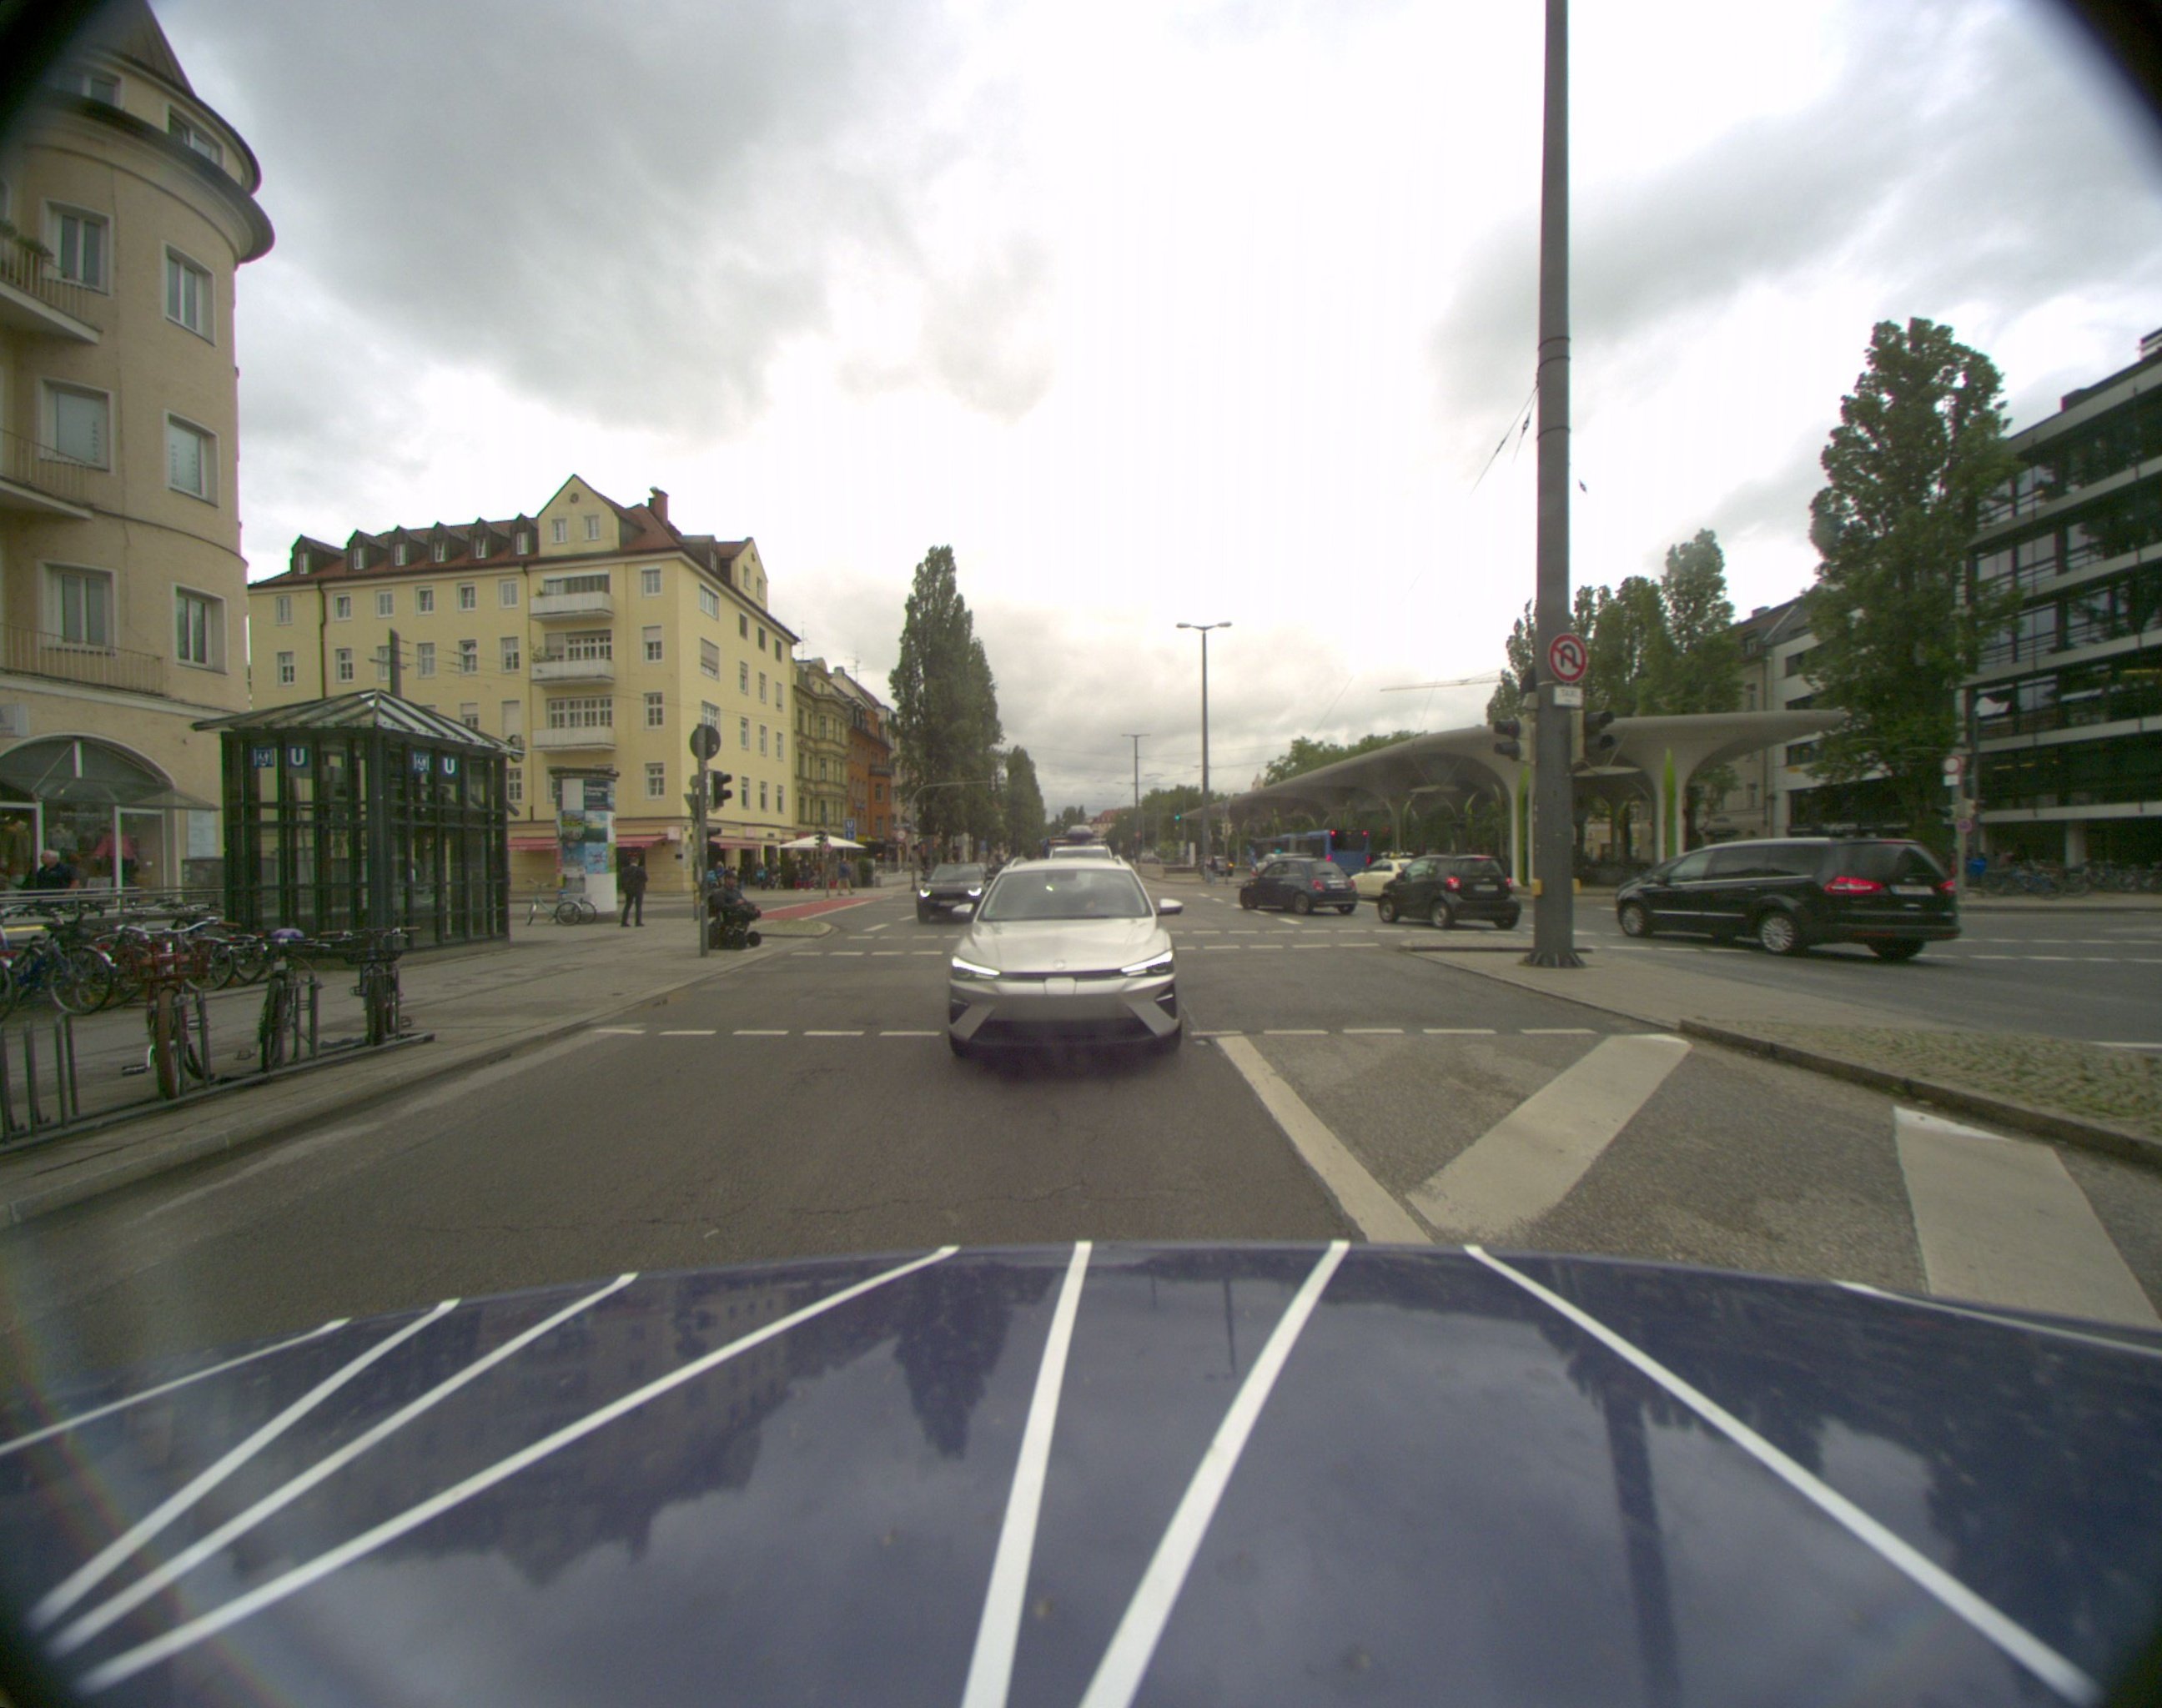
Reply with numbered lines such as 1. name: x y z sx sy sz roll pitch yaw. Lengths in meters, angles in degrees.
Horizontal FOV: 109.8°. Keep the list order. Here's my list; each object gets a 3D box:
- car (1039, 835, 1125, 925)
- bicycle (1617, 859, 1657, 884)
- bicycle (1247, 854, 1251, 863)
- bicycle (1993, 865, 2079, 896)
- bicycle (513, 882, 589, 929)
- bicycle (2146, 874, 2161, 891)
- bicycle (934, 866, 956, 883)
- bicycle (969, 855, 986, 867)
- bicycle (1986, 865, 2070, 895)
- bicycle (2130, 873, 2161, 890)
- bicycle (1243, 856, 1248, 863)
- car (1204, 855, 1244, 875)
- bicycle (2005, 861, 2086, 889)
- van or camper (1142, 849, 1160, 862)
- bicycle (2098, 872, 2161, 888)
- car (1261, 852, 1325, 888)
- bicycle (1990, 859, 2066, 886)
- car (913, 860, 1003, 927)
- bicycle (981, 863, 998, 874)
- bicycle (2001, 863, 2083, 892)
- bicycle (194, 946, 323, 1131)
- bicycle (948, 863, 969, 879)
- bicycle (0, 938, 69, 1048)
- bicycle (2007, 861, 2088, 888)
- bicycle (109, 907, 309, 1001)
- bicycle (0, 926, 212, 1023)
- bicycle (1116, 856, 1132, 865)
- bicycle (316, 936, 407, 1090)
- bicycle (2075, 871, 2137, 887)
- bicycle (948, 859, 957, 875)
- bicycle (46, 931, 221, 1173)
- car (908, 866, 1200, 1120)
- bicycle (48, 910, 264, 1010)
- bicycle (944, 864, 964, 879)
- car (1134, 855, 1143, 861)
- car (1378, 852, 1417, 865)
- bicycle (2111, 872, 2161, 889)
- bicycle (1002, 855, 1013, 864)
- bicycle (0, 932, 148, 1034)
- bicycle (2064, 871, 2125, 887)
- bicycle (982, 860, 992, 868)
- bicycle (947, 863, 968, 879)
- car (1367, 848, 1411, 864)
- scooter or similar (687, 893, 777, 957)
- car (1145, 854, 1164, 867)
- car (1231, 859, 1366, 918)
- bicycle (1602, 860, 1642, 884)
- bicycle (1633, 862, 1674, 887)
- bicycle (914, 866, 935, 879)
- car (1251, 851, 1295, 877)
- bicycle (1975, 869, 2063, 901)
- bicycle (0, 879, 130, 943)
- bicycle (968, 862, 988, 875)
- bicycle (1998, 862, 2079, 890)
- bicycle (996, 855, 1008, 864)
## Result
1. car: -0.018 0.612 19.807 1.999 2.100 3.999 -1 0 -1
2. bicycle: 26.422 0.809 36.142 0.642 1.118 2.167 -1 0 9
3. bicycle: 23.250 0.617 104.975 0.479 1.090 1.851 -1 0 10
4. bicycle: 31.970 0.874 25.465 0.455 0.934 1.728 -1 1 -19
5. bicycle: -13.350 1.293 19.162 1.572 1.153 0.525 0 -1 3
6. bicycle: 41.100 1.052 28.407 1.631 0.629 0.363 -1 0 14
7. bicycle: -8.363 1.224 46.646 1.836 0.990 0.349 0 1 44
8. bicycle: -8.954 0.601 65.599 1.837 0.990 0.326 -3 -1 42
9. bicycle: 32.282 0.857 25.937 0.455 0.934 1.727 -1 1 -21
10. bicycle: 41.234 1.044 28.938 1.631 0.629 0.363 -1 0 14
11. bicycle: 22.708 0.716 105.083 0.479 0.889 1.850 -1 0 8
12. car: 10.473 0.792 55.881 1.999 1.403 4.166 -1 0 -2
13. bicycle: 34.400 0.745 27.122 1.726 0.934 0.456 1 2 42
14. van or camper: 10.439 0.241 114.005 1.933 1.815 5.439 -1 0 -2
15. bicycle: 41.441 1.031 30.027 1.631 0.629 0.363 -1 0 14
16. car: 10.414 0.754 37.709 1.748 1.660 4.731 0 0 -1
17. bicycle: 35.485 0.686 28.500 1.726 0.934 0.456 1 2 43
18. car: -3.195 0.970 20.530 1.780 1.495 3.969 -1 1 -1
19. bicycle: -8.726 1.355 72.400 1.837 0.990 0.376 -3 -1 42
20. bicycle: 33.359 0.800 26.410 0.456 0.934 1.726 -2 2 -41
21. bicycle: -6.074 1.287 5.673 0.500 1.022 1.597 -1 0 -42
22. bicycle: -8.323 1.145 51.715 1.836 0.990 0.349 0 1 43
23. bicycle: -10.864 1.314 7.182 1.843 0.958 0.509 -1 0 -2
24. bicycle: 34.853 0.721 27.428 1.726 0.934 0.456 1 2 42
25. bicycle: -10.853 1.229 9.491 1.843 1.088 0.509 -1 0 -2
26. bicycle: -10.782 1.307 8.335 1.843 0.958 0.509 -1 0 -2
27. bicycle: 5.757 0.805 100.575 2.235 1.143 0.505 -1 0 -33
28. bicycle: -6.152 1.291 6.529 0.500 1.022 1.597 -1 0 -42
29. bicycle: 41.576 1.022 30.823 1.631 0.629 0.363 -1 0 14
30. bicycle: -10.862 1.104 64.301 0.424 1.280 1.778 -1 0 1
31. bicycle: -6.157 1.177 5.012 1.800 1.191 0.560 -1 0 43
32. car: -0.133 0.924 7.306 1.812 1.496 4.952 -2 0 1
33. bicycle: -10.830 1.229 8.925 1.843 1.088 0.509 -1 0 -2
34. bicycle: -8.418 1.153 50.430 0.349 0.990 1.836 -1 1 -44
35. car: 13.339 0.942 177.154 1.893 1.521 4.000 0 0 0
36. car: 38.879 0.525 93.415 3.994 1.606 1.832 -1 0 8
37. bicycle: 41.330 1.038 29.551 1.631 0.629 0.363 -1 0 14
38. bicycle: -9.440 0.716 97.385 0.360 1.096 1.740 -1 1 -45
39. bicycle: -10.849 1.312 7.802 1.843 0.958 0.509 -1 0 -2
40. bicycle: 41.649 1.018 31.245 1.631 0.629 0.363 -1 0 14
41. bicycle: -13.325 1.376 107.959 0.445 1.017 1.842 -1 1 26
42. bicycle: -8.308 1.146 50.998 1.836 0.990 0.349 0 1 43
43. car: 39.099 0.281 96.662 4.923 1.936 1.872 -1 0 10
44. scooter or similar: -6.307 1.275 13.775 1.255 1.068 0.778 1 -1 5
45. car: 8.901 0.816 91.712 1.669 1.499 4.281 3 -1 -2
46. car: 5.829 0.865 20.749 1.552 1.437 3.531 -1 0 -26
47. bicycle: 25.776 0.842 36.239 0.642 1.118 2.167 -1 0 9
48. bicycle: 27.180 0.949 36.100 0.654 1.112 2.184 -1 0 10
49. bicycle: -13.408 1.568 65.092 1.728 1.039 0.387 -2 -1 -6
50. car: 12.102 0.615 48.233 1.703 1.586 3.999 -1 0 -1
51. bicycle: 30.126 0.971 24.439 0.455 0.934 1.728 -1 1 -20
52. bicycle: -19.427 1.044 14.435 0.496 1.083 1.865 -1 0 -6
53. bicycle: -8.477 1.176 62.489 1.837 0.990 0.326 -2 -1 37
54. bicycle: 33.825 0.775 26.871 1.726 0.934 0.456 1 2 42
55. bicycle: -10.078 0.745 96.680 1.740 1.096 0.360 0 1 35
